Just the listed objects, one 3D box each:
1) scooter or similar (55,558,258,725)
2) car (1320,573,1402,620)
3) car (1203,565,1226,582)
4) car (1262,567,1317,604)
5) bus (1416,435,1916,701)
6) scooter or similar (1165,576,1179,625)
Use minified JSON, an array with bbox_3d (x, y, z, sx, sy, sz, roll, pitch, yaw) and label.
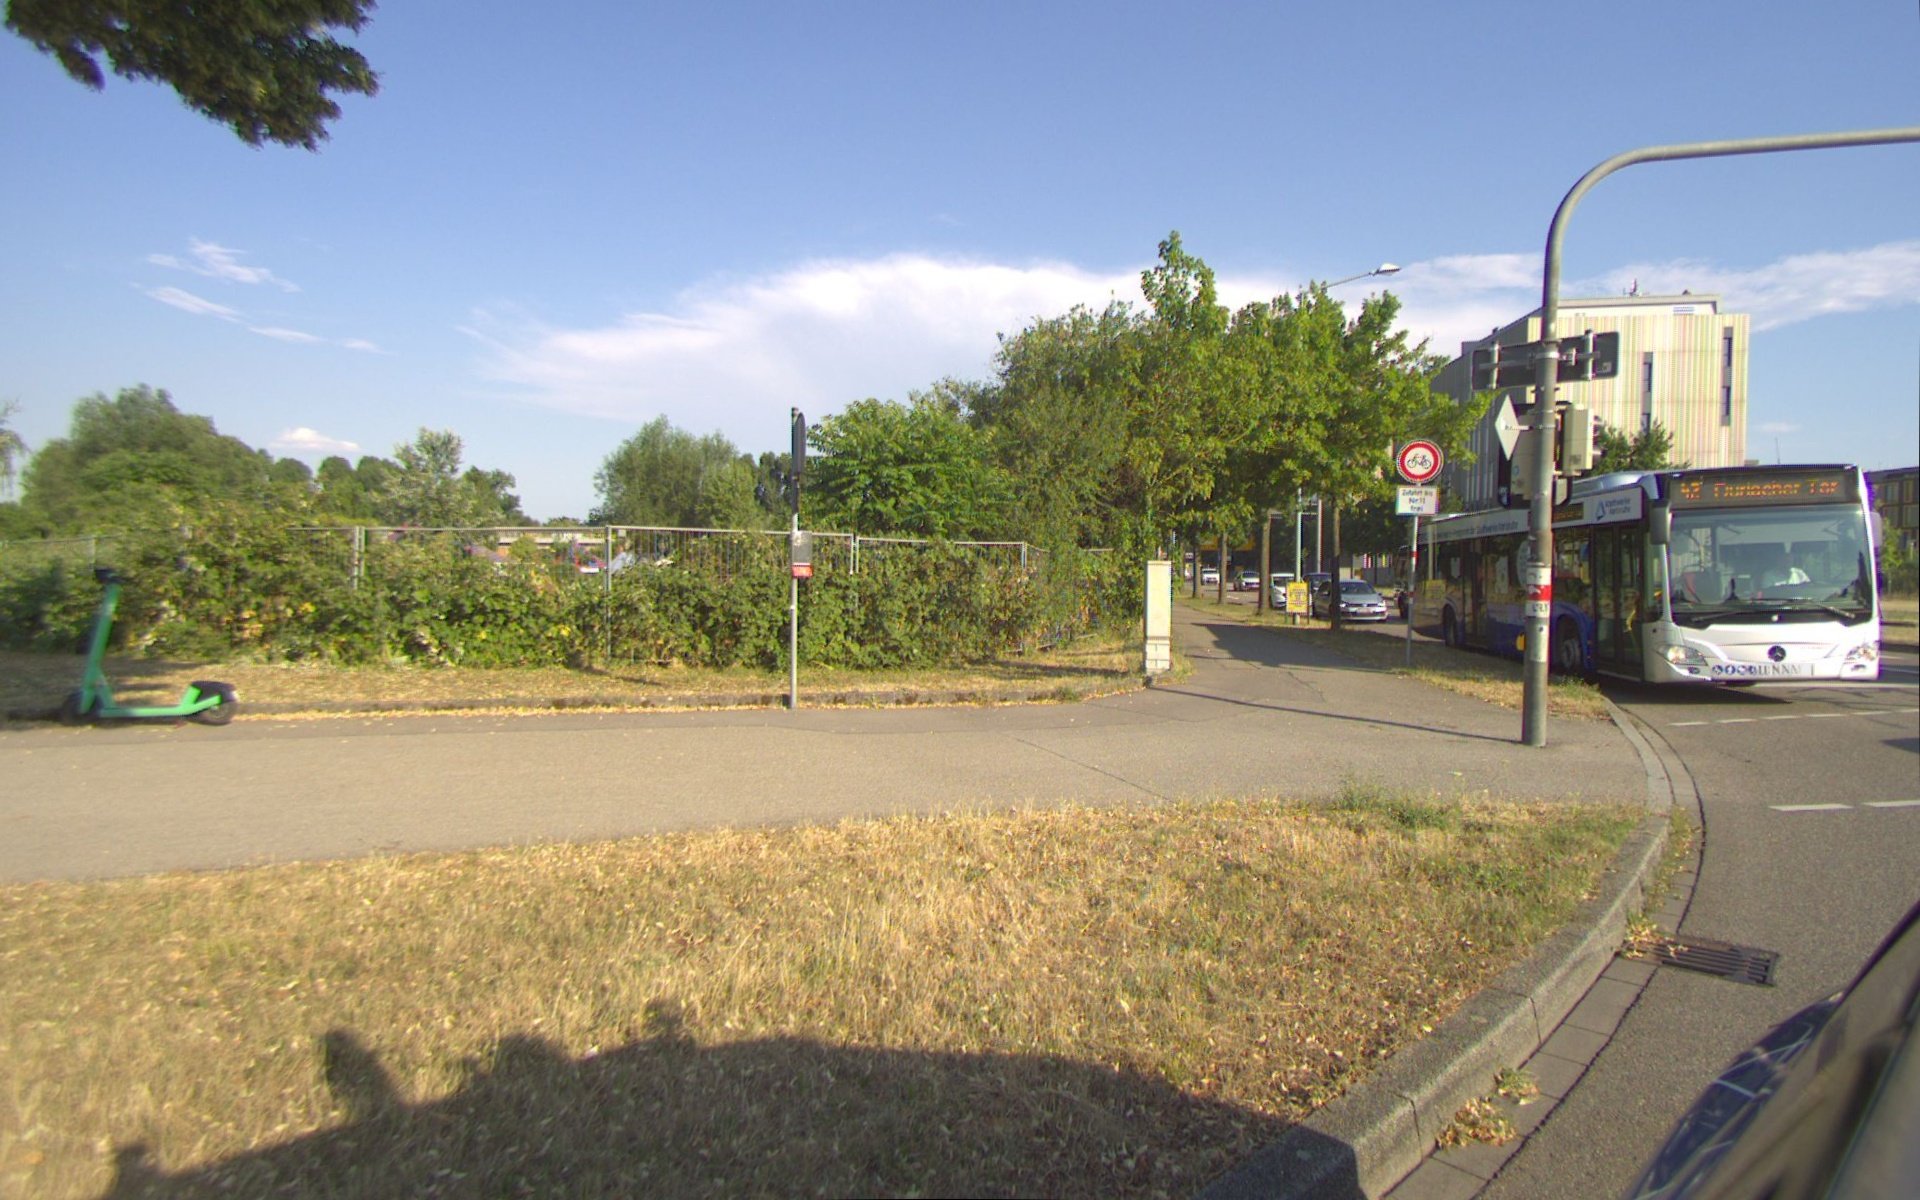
[{"bbox_3d":[-5.961,0.307,7.544,1.146,1.173,0.343,2,4,-12],"label":"scooter or similar"},{"bbox_3d":[13.403,-0.157,34.017,1.558,1.441,3.623,1,2,5],"label":"car"},{"bbox_3d":[23.769,-2.483,94.637,1.558,1.581,3.623,1,2,5],"label":"car"},{"bbox_3d":[14.845,-0.684,45.717,1.558,1.581,3.623,1,2,5],"label":"car"},{"bbox_3d":[10.854,-0.538,17.684,2.555,3.080,11.685,0,2,11],"label":"bus"},{"bbox_3d":[5.060,-0.005,24.130,0.245,1.140,1.091,4,2,11],"label":"scooter or similar"}]
